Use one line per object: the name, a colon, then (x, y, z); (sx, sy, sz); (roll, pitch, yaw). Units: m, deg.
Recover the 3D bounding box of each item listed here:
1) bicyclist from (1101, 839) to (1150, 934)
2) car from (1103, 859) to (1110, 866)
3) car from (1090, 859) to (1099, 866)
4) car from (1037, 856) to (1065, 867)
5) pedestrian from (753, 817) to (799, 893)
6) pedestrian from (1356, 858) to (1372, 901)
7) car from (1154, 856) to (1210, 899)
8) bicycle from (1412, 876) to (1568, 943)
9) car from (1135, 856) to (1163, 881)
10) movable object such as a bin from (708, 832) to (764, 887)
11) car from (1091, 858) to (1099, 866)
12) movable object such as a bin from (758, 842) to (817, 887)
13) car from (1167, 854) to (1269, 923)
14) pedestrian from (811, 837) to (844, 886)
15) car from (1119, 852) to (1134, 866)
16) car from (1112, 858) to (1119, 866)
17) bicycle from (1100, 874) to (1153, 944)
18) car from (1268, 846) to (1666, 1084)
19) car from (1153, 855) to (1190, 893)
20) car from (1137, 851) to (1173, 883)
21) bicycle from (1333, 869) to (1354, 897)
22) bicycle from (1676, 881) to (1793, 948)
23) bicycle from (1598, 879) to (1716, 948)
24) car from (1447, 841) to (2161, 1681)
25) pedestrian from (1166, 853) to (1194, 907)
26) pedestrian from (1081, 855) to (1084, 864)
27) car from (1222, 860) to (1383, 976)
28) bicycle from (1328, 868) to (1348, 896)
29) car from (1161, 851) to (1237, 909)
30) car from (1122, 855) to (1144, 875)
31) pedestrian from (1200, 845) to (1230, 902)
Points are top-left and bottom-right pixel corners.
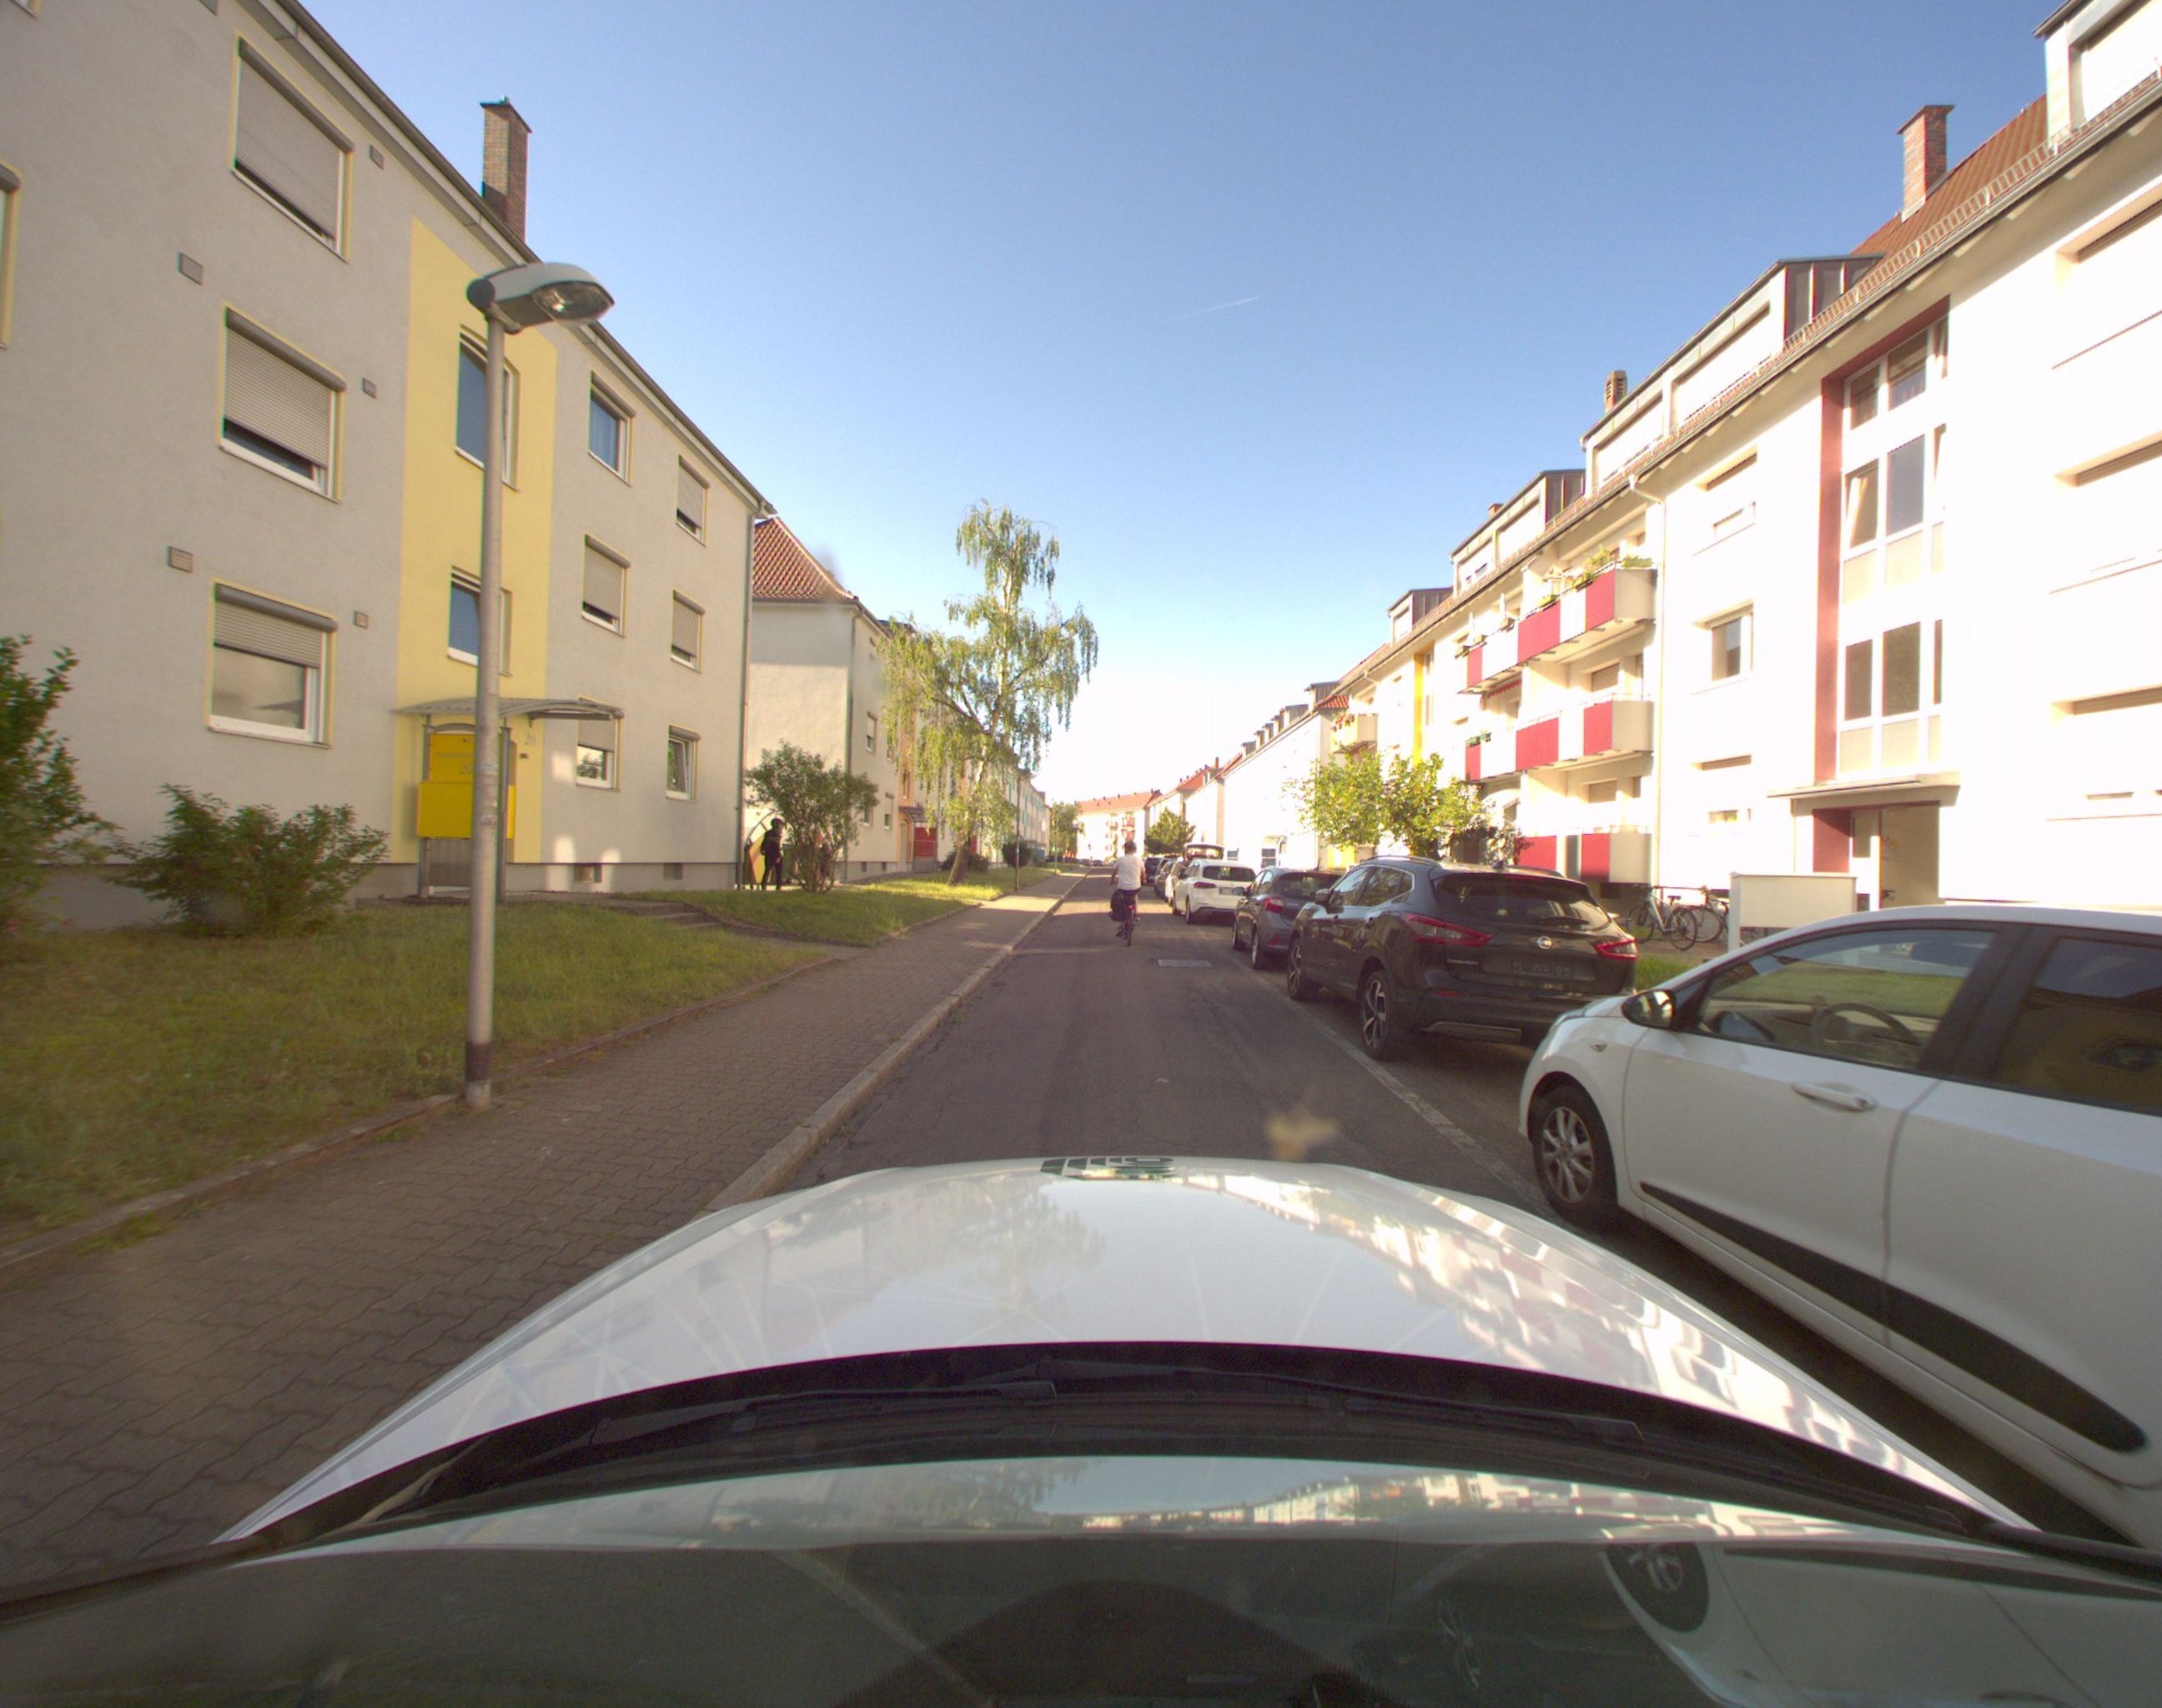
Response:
bicyclist: (0.784, 0.566, 14.633); (0.806, 1.643, 0.898); (0, 0, -1)
car: (5.371, 1.794, 172.456); (1.465, 1.516, 3.076); (1, 0, 0)
car: (2.400, 1.479, 142.835); (1.465, 1.335, 3.140); (1, 0, 0)
car: (-4.600, 1.155, 124.743); (4.221, 1.638, 1.581); (1, 0, -3)
pedestrian: (-7.433, 0.025, 19.879); (0.802, 1.824, 0.718); (1, -1, 2)
pedestrian: (9.983, 0.884, 28.692); (0.449, 1.495, 0.360); (1, -2, 2)
car: (3.890, 0.861, 31.867); (1.688, 1.491, 3.984); (3, 0, 1)
bicycle: (7.419, 0.983, 14.876); (2.411, 1.130, 0.881); (0, 0, 7)
car: (4.264, 0.862, 51.620); (1.635, 1.498, 4.159); (1, 0, 3)
movable object such as a bin: (-9.257, 0.150, 21.881); (1.080, 1.406, 0.813); (2, 0, 2)
car: (2.569, 1.492, 147.738); (1.465, 1.335, 3.140); (1, 0, 0)
movable object such as a bin: (-9.567, 0.335, 26.613); (1.383, 1.336, 1.228); (3, 0, 1)
car: (3.327, 0.786, 20.629); (1.766, 1.505, 4.479); (2, 0, 0)
pedestrian: (-6.890, 0.205, 22.139); (0.683, 1.317, 0.576); (1, -1, 2)
car: (6.173, 0.675, 110.245); (1.669, 1.739, 3.942); (2, 0, 0)
car: (6.743, 1.586, 159.527); (1.377, 1.497, 3.076); (1, 0, 0)
bicycle: (0.792, 0.948, 14.712); (0.806, 1.128, 2.101); (0, 0, -1)
car: (3.075, 0.746, 7.605); (1.717, 1.578, 4.353); (0, 0, 1)
car: (4.030, 0.849, 36.342); (1.472, 1.529, 2.945); (3, 0, 6)
car: (4.189, 0.727, 46.522); (1.776, 1.648, 4.471); (3, 0, 3)
bicycle: (10.016, 1.101, 31.041); (0.737, 1.047, 0.239); (0, 0, 3)
bicycle: (11.361, 1.013, 14.247); (0.518, 1.037, 1.976); (0, 0, 2)
bicycle: (10.052, 0.994, 14.327); (0.518, 1.049, 2.289); (-1, 0, 2)
car: (2.857, 0.794, 2.493); (1.707, 1.509, 3.854); (4, 0, 1)
pedestrian: (2.950, 0.764, 24.441); (0.737, 1.575, 0.880); (1, 0, 1)
pedestrian: (0.313, 0.941, 139.579); (0.432, 1.574, 0.543); (1, 0, 1)
car: (3.290, 0.858, 12.844); (1.639, 1.449, 4.065); (3, 0, 4)
bicycle: (10.070, 1.084, 31.950); (0.401, 1.087, 1.300); (0, 0, 2)
car: (3.737, 0.769, 26.538); (1.985, 1.613, 5.000); (3, 0, 4)
car: (4.822, 1.010, 75.951); (1.855, 1.668, 4.128); (3, 0, 2)
pedestrian: (3.993, 0.566, 24.310); (0.816, 1.687, 0.604); (0, 0, 1)
